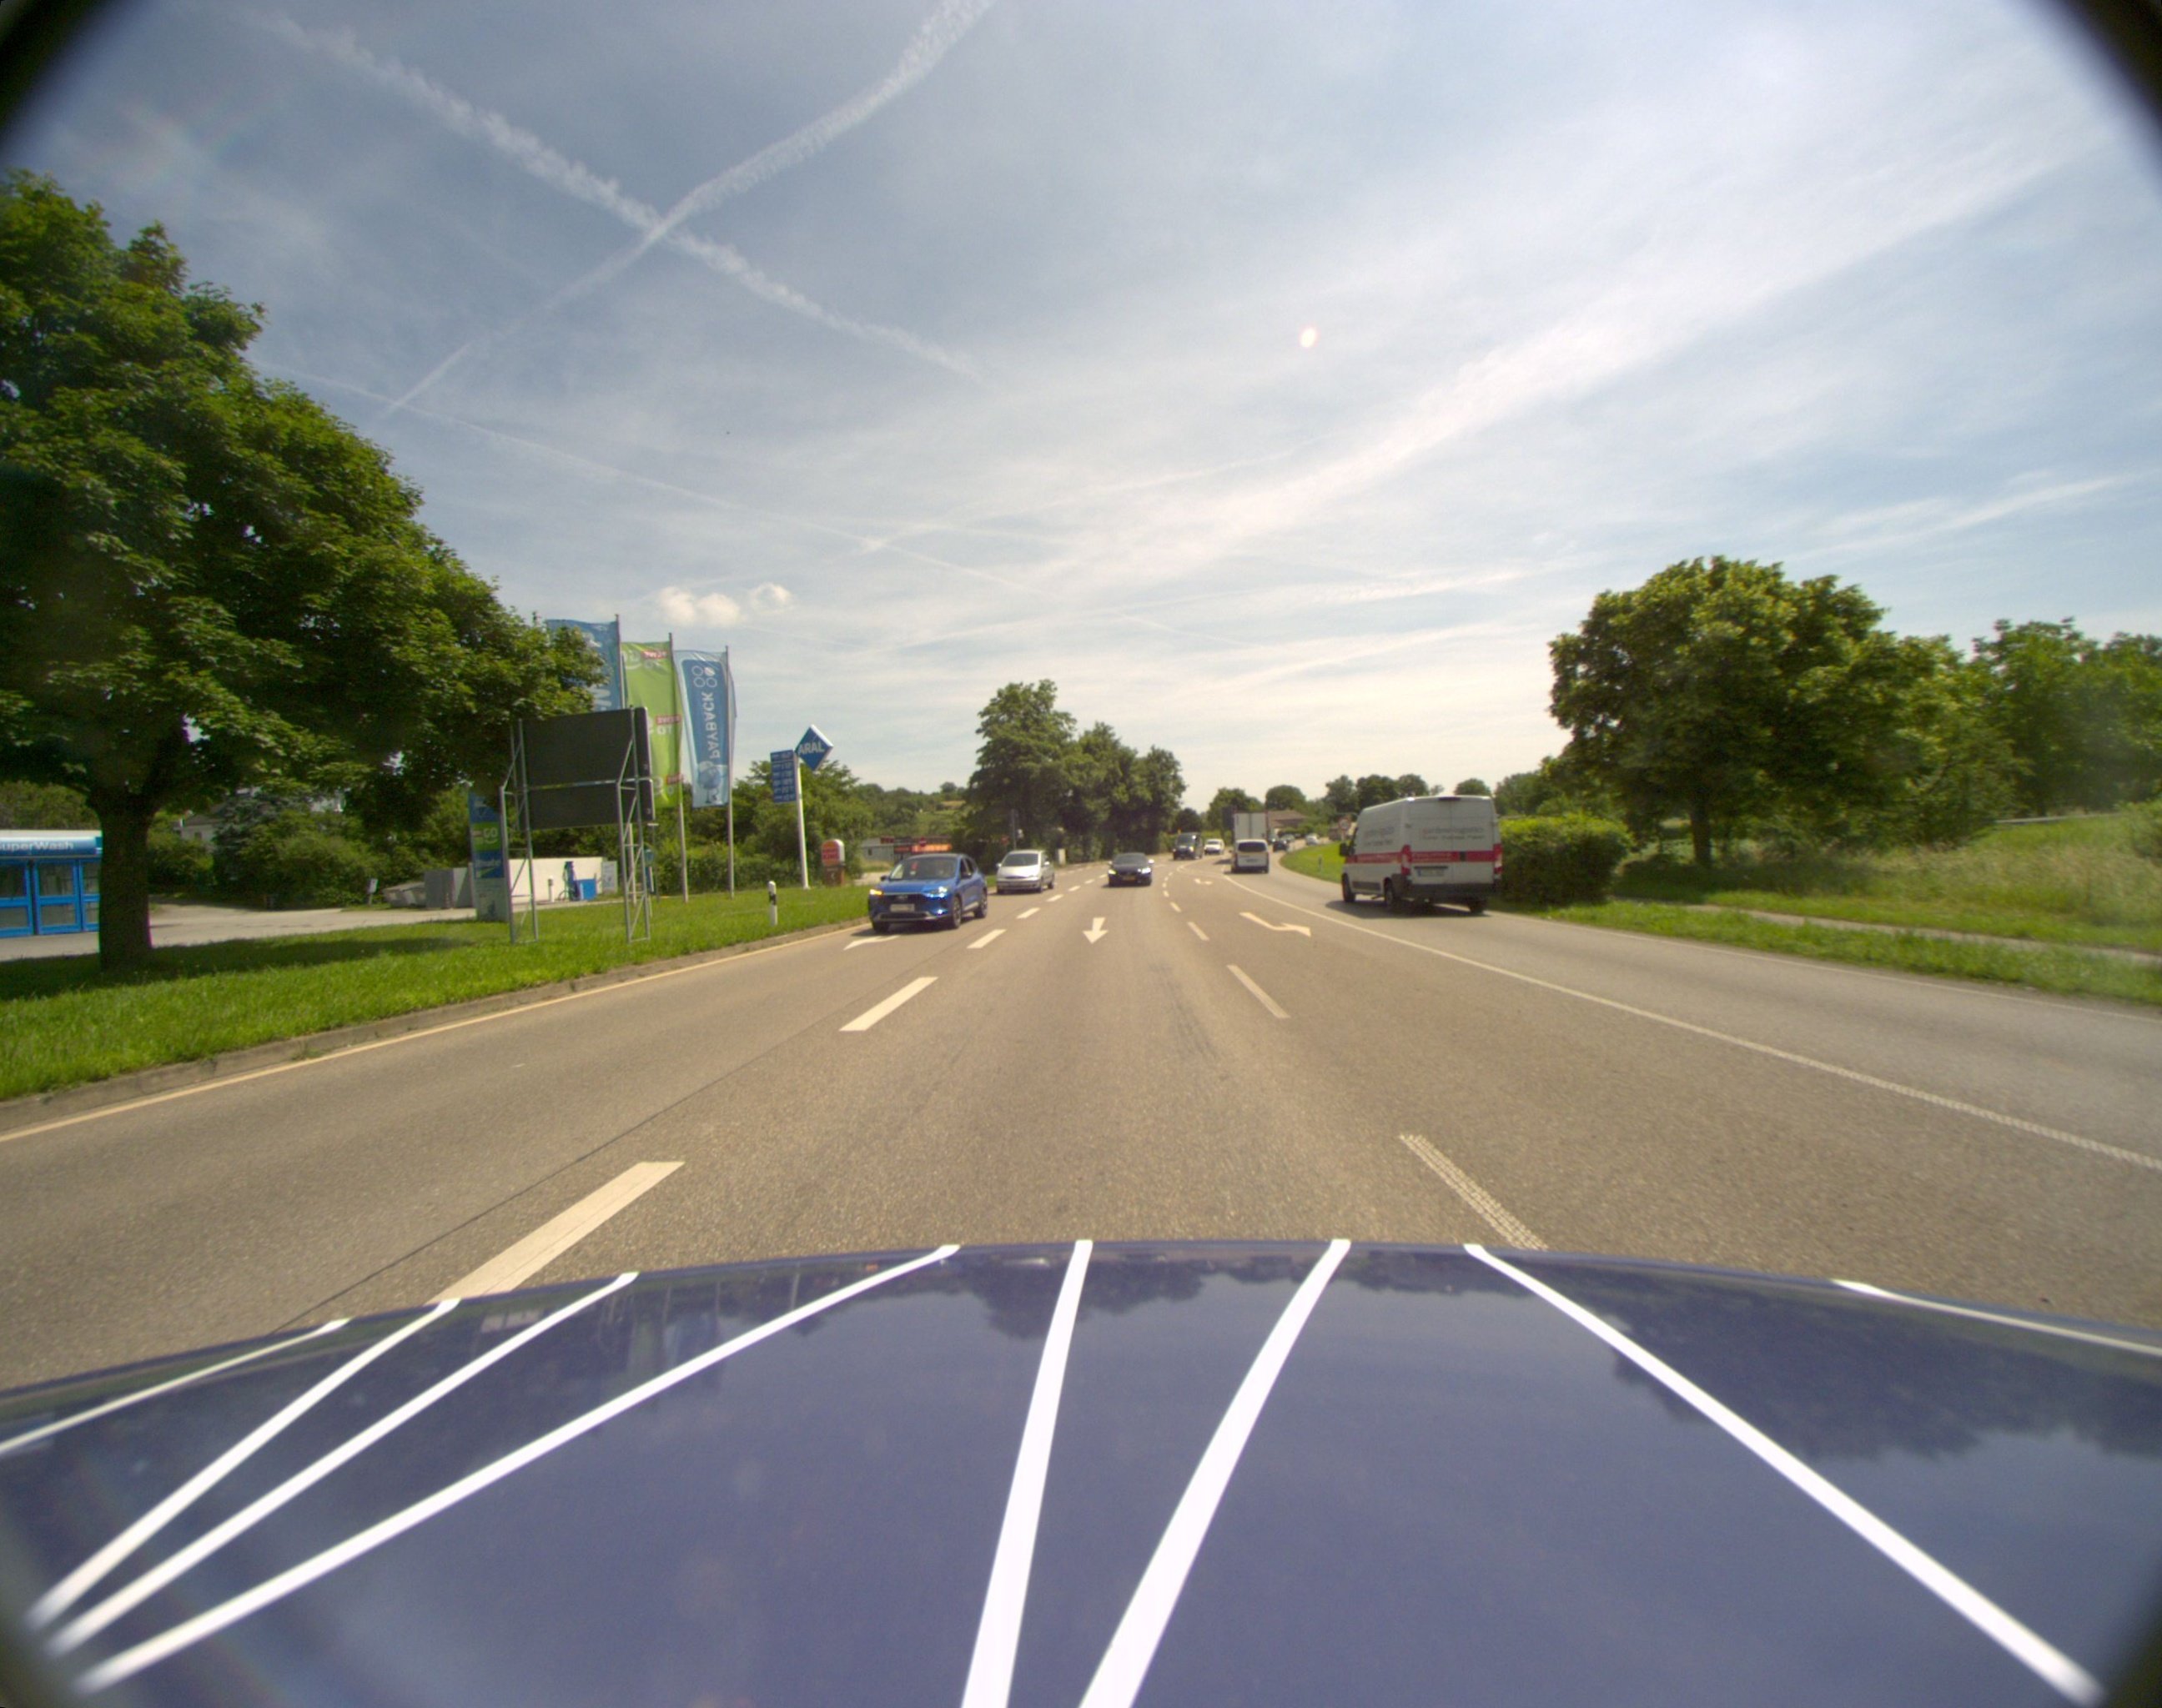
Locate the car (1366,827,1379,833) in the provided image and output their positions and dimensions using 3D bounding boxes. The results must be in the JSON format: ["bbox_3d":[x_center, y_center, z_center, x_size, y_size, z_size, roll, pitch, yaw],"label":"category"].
[{"bbox_3d":[75.025,-6.151,195.471,1.779,1.484,4.165,0,2,41],"label":"car"}]

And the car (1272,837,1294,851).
[{"bbox_3d":[25.159,-1.266,94.536,1.617,1.550,4.006,-1,2,29],"label":"car"}]

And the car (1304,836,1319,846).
[{"bbox_3d":[38.185,-2.190,125.759,1.617,1.454,3.476,-1,2,29],"label":"car"}]

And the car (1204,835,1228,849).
[{"bbox_3d":[15.739,-1.381,88.376,1.780,1.484,4.163,-1,2,25],"label":"car"}]

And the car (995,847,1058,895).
[{"bbox_3d":[-2.125,0.627,30.915,1.865,1.682,4.527,-2,1,4],"label":"car"}]

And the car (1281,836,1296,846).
[{"bbox_3d":[39.279,-2.386,143.694,1.806,1.722,4.007,-2,0,29],"label":"car"}]

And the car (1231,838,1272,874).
[{"bbox_3d":[9.624,0.088,43.192,1.876,1.854,5.144,-1,0,8],"label":"car"}]

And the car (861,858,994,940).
[{"bbox_3d":[-3.400,0.941,17.755,1.782,1.549,4.389,-2,0,5],"label":"car"}]

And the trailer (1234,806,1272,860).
[{"bbox_3d":[14.296,-1.678,63.115,2.782,4.078,11.670,0,1,13],"label":"trailer"}]

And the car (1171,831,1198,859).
[{"bbox_3d":[9.777,-0.878,71.972,1.980,2.505,4.157,-2,1,2],"label":"car"}]

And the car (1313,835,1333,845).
[{"bbox_3d":[38.586,-2.198,121.086,1.617,1.454,4.007,0,2,42],"label":"car"}]

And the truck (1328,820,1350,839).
[{"bbox_3d":[50.866,-4.782,149.560,2.970,3.550,6.909,-1,2,29],"label":"truck"}]

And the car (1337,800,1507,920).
[{"bbox_3d":[7.840,0.127,18.136,2.055,2.437,5.270,-1,0,5],"label":"car"}]

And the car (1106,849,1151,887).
[{"bbox_3d":[2.093,0.582,33.315,1.782,1.484,4.158,-2,0,4],"label":"car"}]
